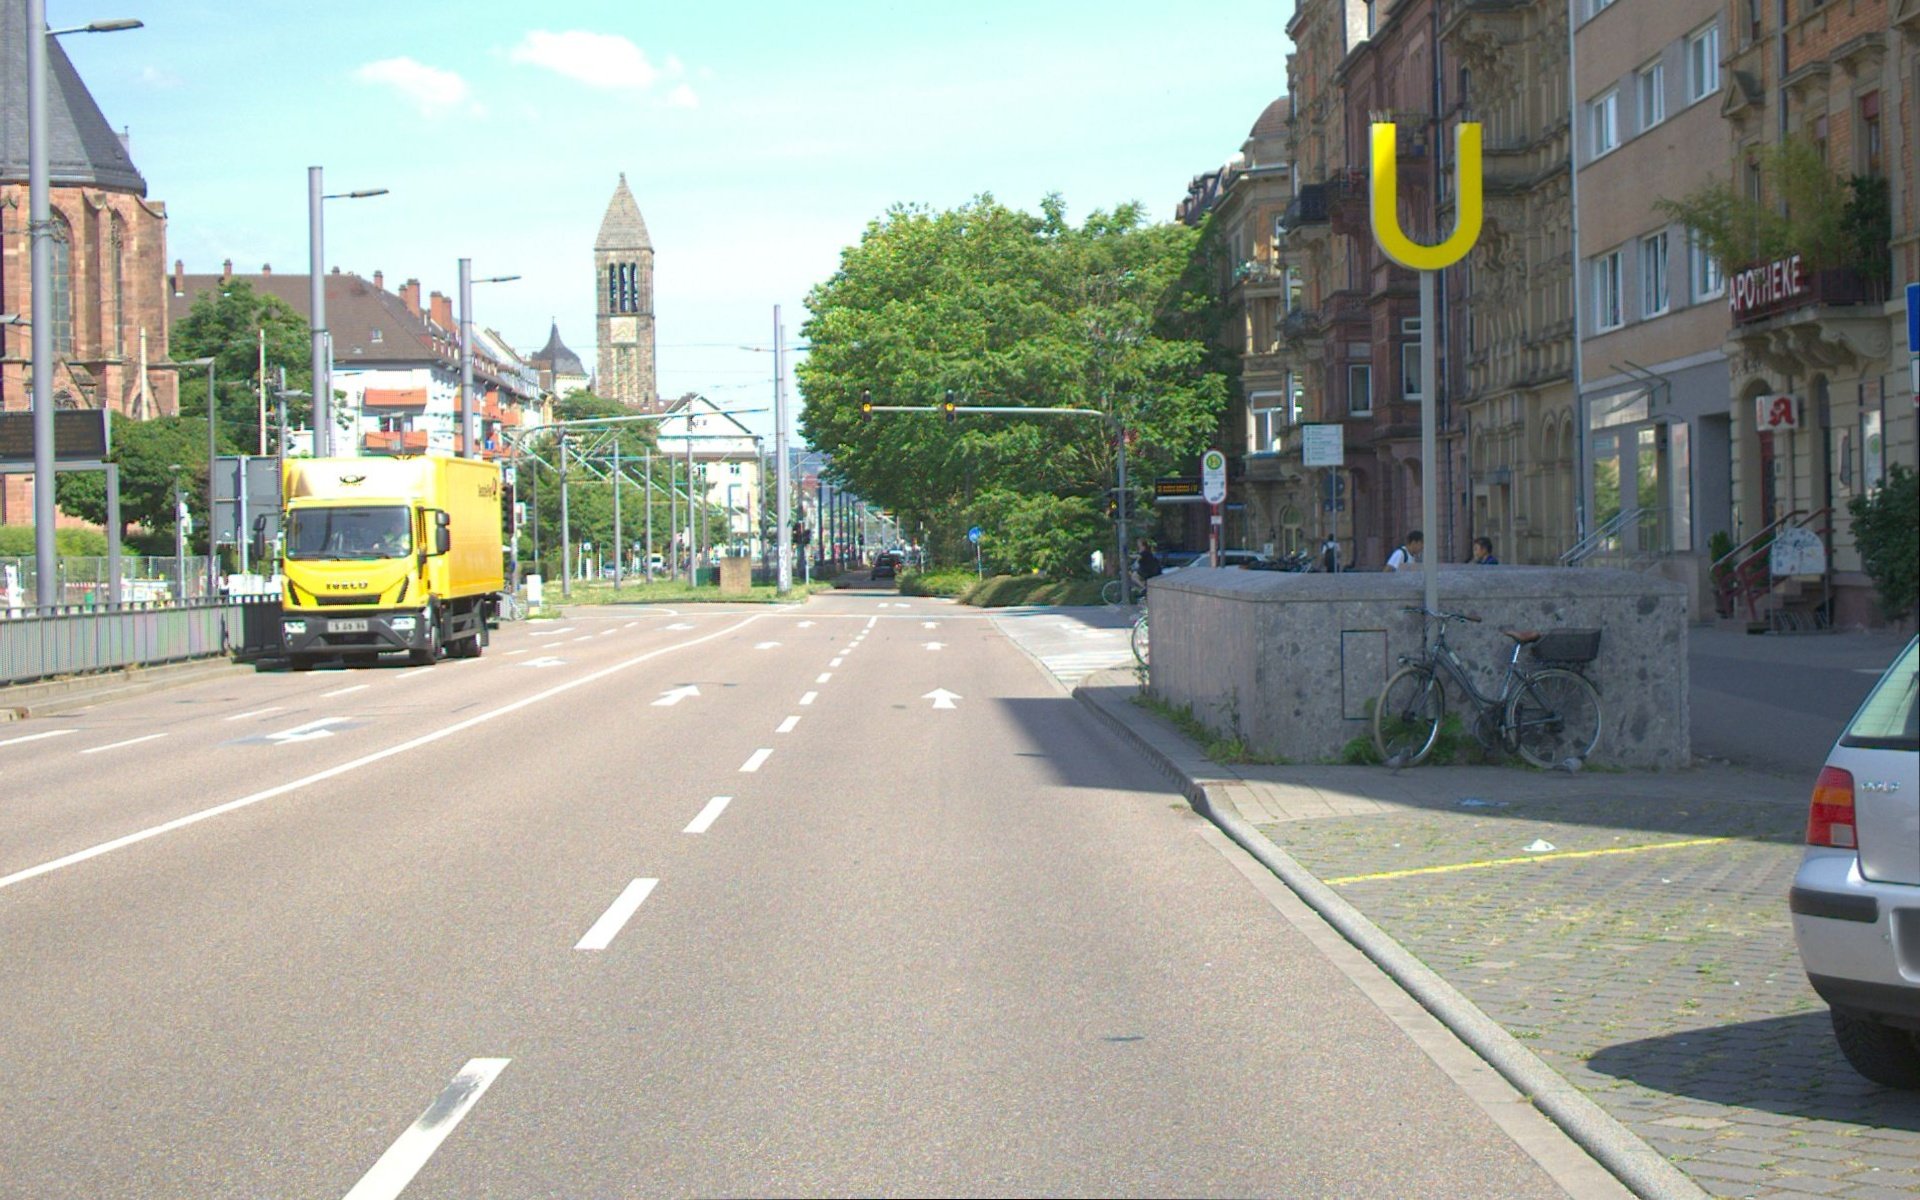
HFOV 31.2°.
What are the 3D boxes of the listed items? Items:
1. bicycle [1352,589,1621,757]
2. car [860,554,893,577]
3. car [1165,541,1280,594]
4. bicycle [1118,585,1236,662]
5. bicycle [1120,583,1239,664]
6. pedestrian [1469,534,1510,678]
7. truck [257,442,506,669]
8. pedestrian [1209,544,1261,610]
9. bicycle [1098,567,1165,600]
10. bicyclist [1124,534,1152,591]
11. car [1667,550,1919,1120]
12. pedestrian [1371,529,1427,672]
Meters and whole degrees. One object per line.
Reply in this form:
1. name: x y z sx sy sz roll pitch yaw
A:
1. bicycle: 3.616 0.496 23.683 1.742 1.090 0.597 -1 2 0
2. car: -5.238 -2.134 214.705 1.899 1.371 3.816 -1 1 -3
3. car: 9.375 -1.177 123.168 3.987 1.743 2.000 -1 3 1
4. bicycle: 2.762 0.300 43.769 1.460 0.943 0.415 -1 -1 0
5. bicycle: 2.761 0.296 43.322 1.460 0.972 0.415 -1 3 0
6. pedestrian: 6.164 0.061 40.035 0.371 1.660 0.525 -1 1 0
7. truck: -9.301 -0.727 56.294 2.543 3.287 9.029 -3 1 -1
8. pedestrian: 5.683 -0.480 71.002 0.947 1.320 0.823 -1 1 -3
9. bicycle: 4.802 -0.469 96.232 1.818 0.860 0.483 -1 3 -15
10. bicyclist: 4.982 -1.050 96.257 0.639 1.586 0.483 -1 3 -15
11. car: 4.043 0.620 9.887 3.988 1.435 1.813 1 1 -40
12. pedestrian: 5.134 0.002 40.194 0.553 1.660 0.525 -1 1 0
